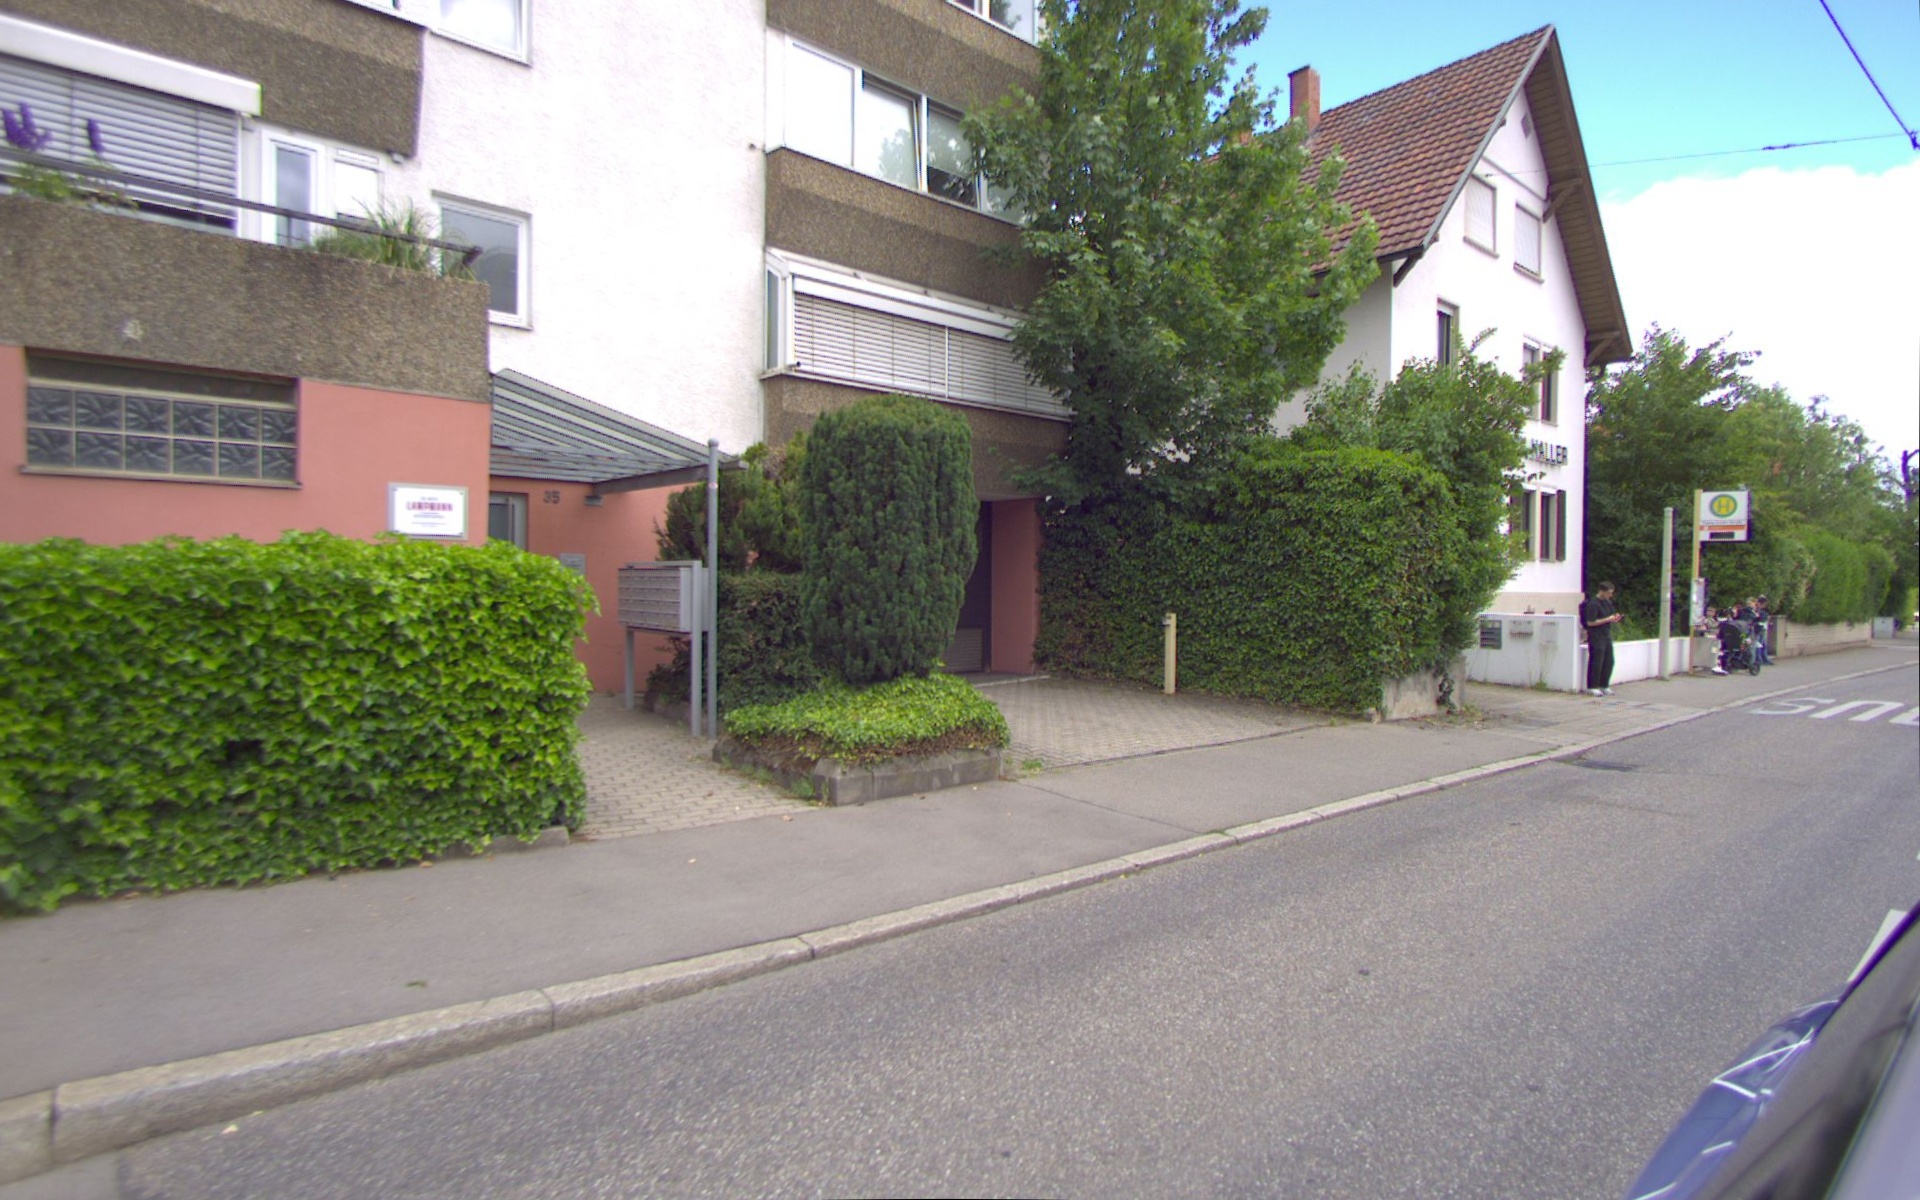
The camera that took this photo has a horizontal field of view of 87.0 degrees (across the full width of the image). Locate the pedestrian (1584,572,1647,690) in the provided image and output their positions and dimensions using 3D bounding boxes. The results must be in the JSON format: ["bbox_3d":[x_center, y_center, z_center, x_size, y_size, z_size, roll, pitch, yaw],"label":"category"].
[{"bbox_3d":[10.132,0.469,15.646,0.657,1.789,0.491,0,0,-9],"label":"pedestrian"}]

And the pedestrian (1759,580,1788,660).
[{"bbox_3d":[18.298,0.443,22.760,0.489,1.776,0.344,0,4,-45],"label":"pedestrian"}]

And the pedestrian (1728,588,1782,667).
[{"bbox_3d":[16.397,0.551,20.870,0.736,1.553,0.661,0,4,-42],"label":"pedestrian"}]

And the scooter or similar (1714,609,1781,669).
[{"bbox_3d":[15.785,0.780,20.295,0.842,1.110,0.479,4,3,2],"label":"scooter or similar"}]

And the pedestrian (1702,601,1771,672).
[{"bbox_3d":[15.103,0.698,19.686,0.914,1.266,0.777,6,4,44],"label":"pedestrian"}]
